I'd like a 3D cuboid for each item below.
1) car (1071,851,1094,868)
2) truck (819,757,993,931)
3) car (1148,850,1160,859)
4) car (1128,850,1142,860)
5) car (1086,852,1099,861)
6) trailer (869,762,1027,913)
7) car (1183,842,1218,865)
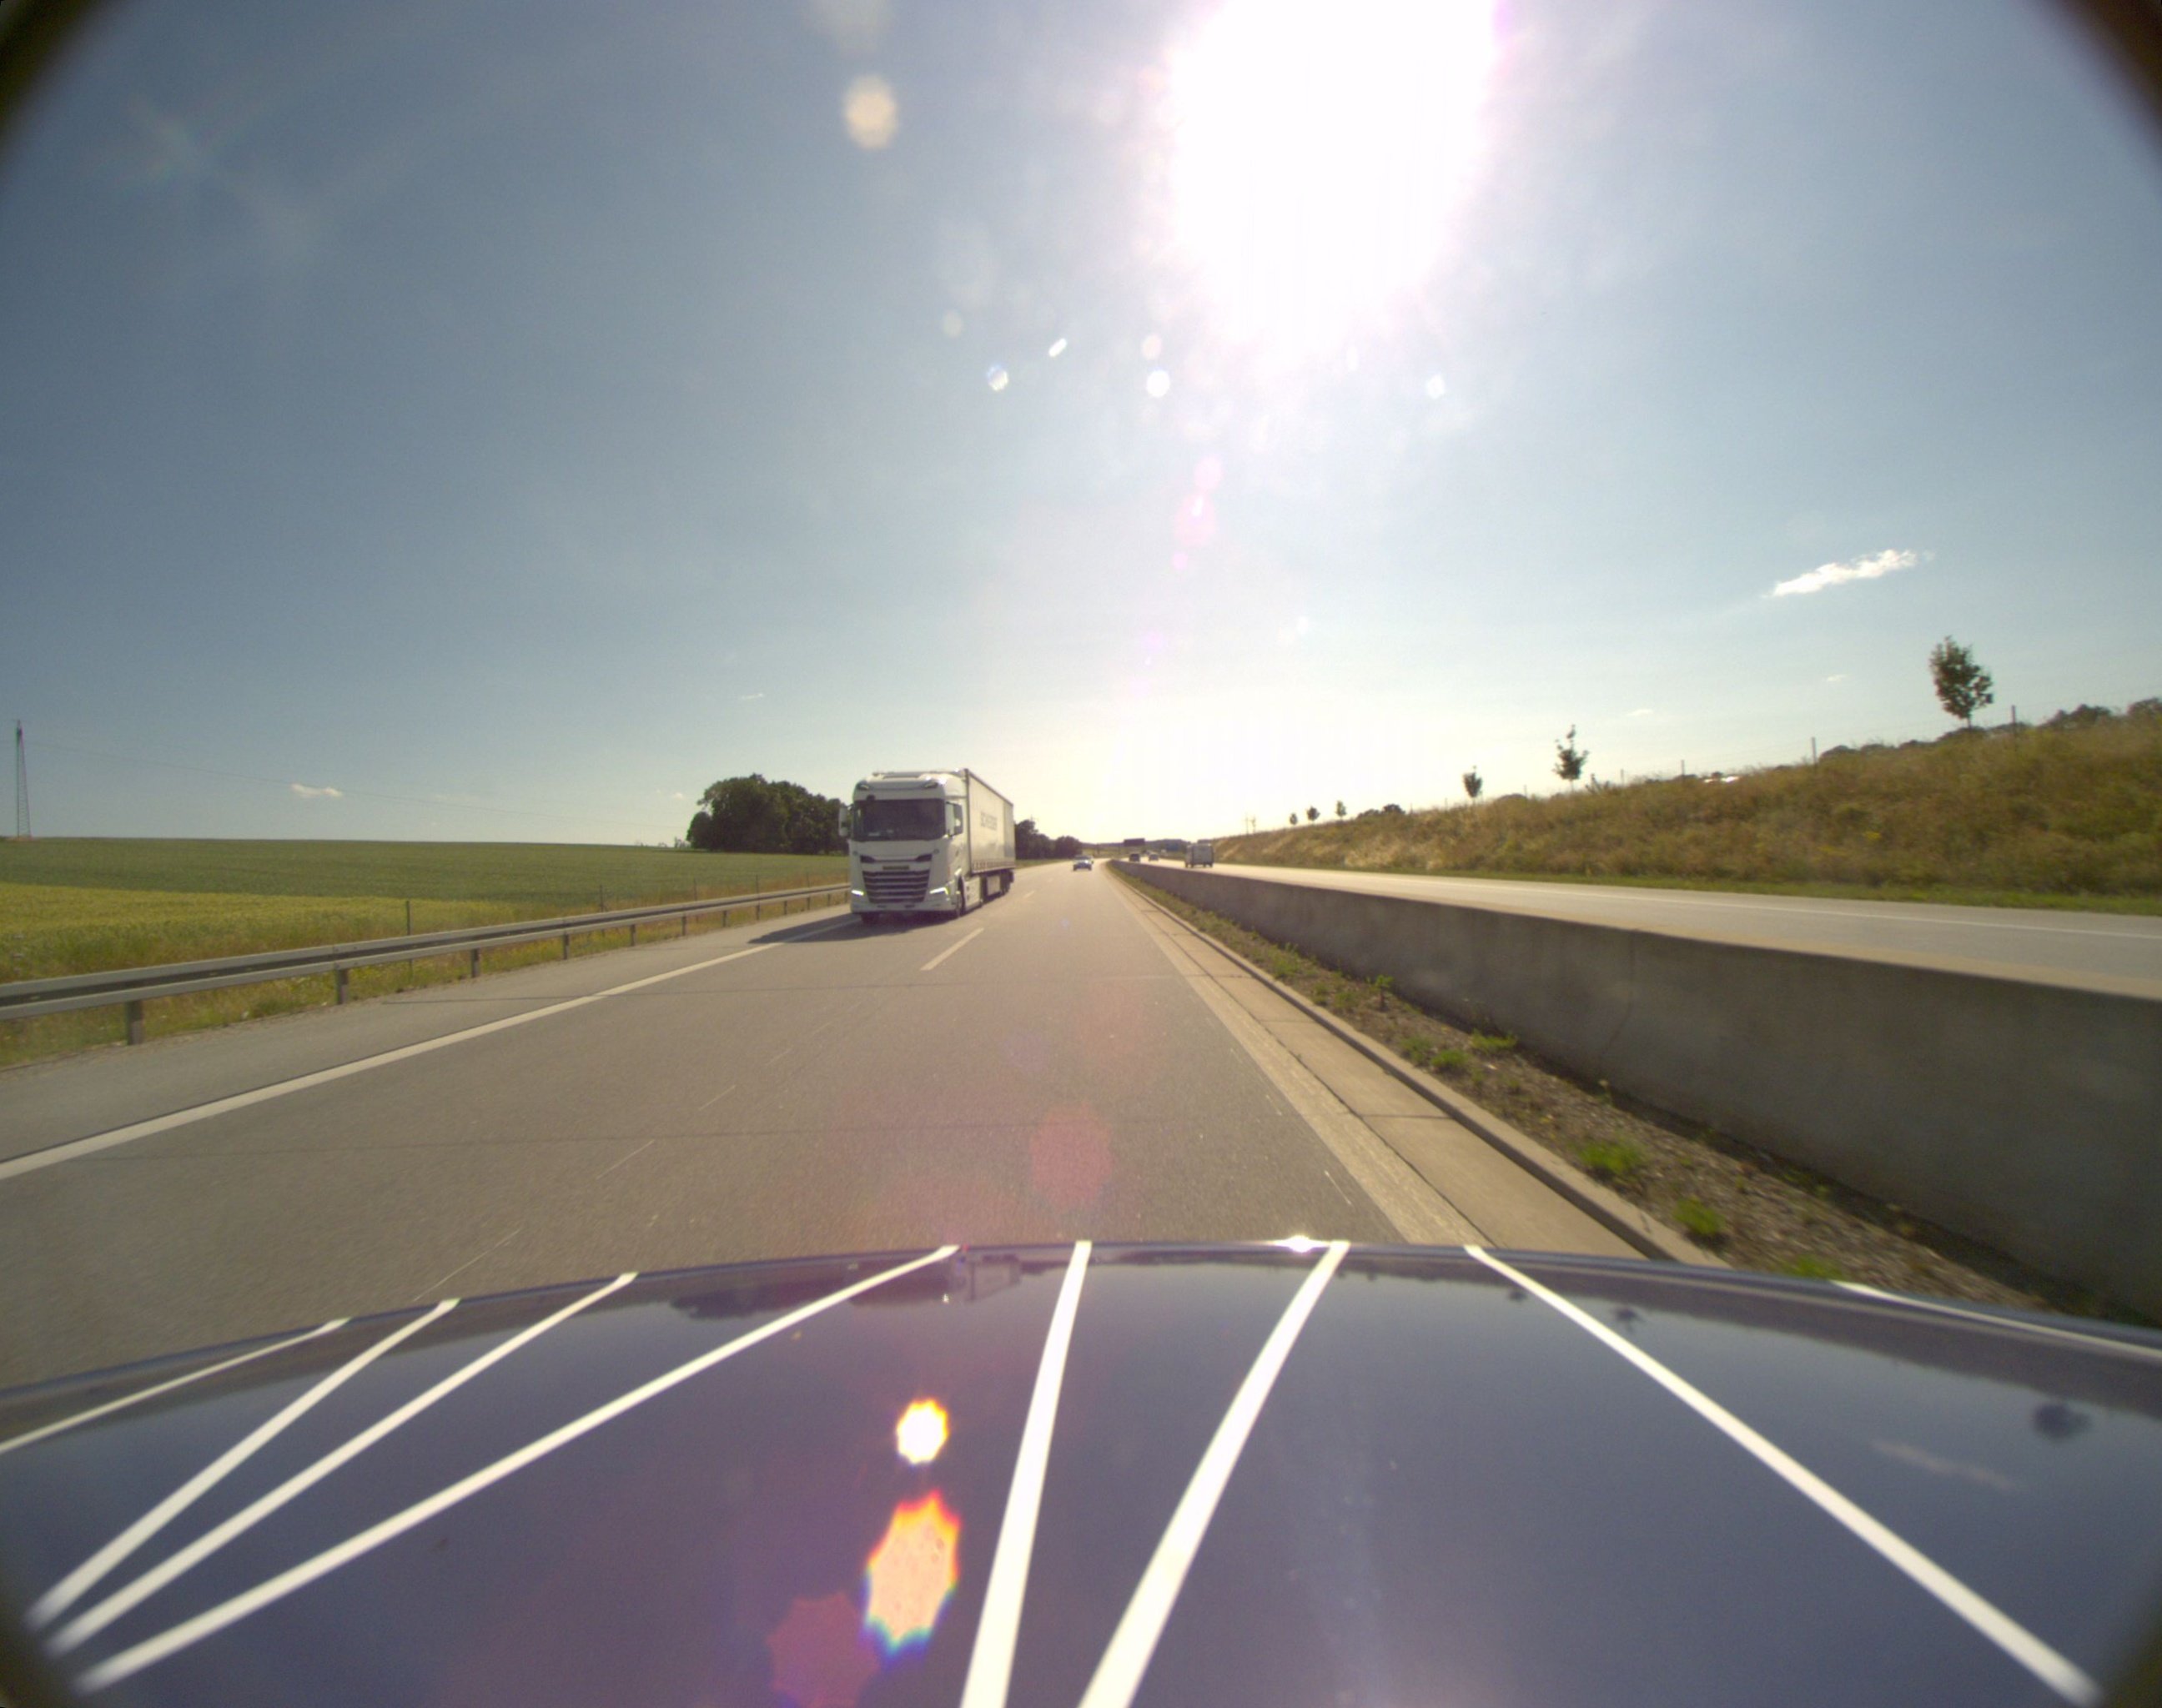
[{"bbox_3d":[0.171,0.540,76.833,1.891,1.565,3.793,-2,0,5],"label":"car"},{"bbox_3d":[-4.488,-0.251,21.024,3.090,3.991,6.188,-2,0,1],"label":"truck"},{"bbox_3d":[13.009,0.005,135.700,1.884,1.493,4.565,-1,1,1],"label":"car"},{"bbox_3d":[8.749,0.202,122.987,1.884,1.566,4.565,-2,0,1],"label":"car"},{"bbox_3d":[2.017,0.423,130.158,1.891,1.565,3.793,-2,0,5],"label":"car"},{"bbox_3d":[-4.366,-0.513,29.556,3.184,4.269,15.459,-1,0,1],"label":"trailer"},{"bbox_3d":[10.467,-0.083,67.011,2.239,1.923,5.794,-1,0,0],"label":"car"}]
